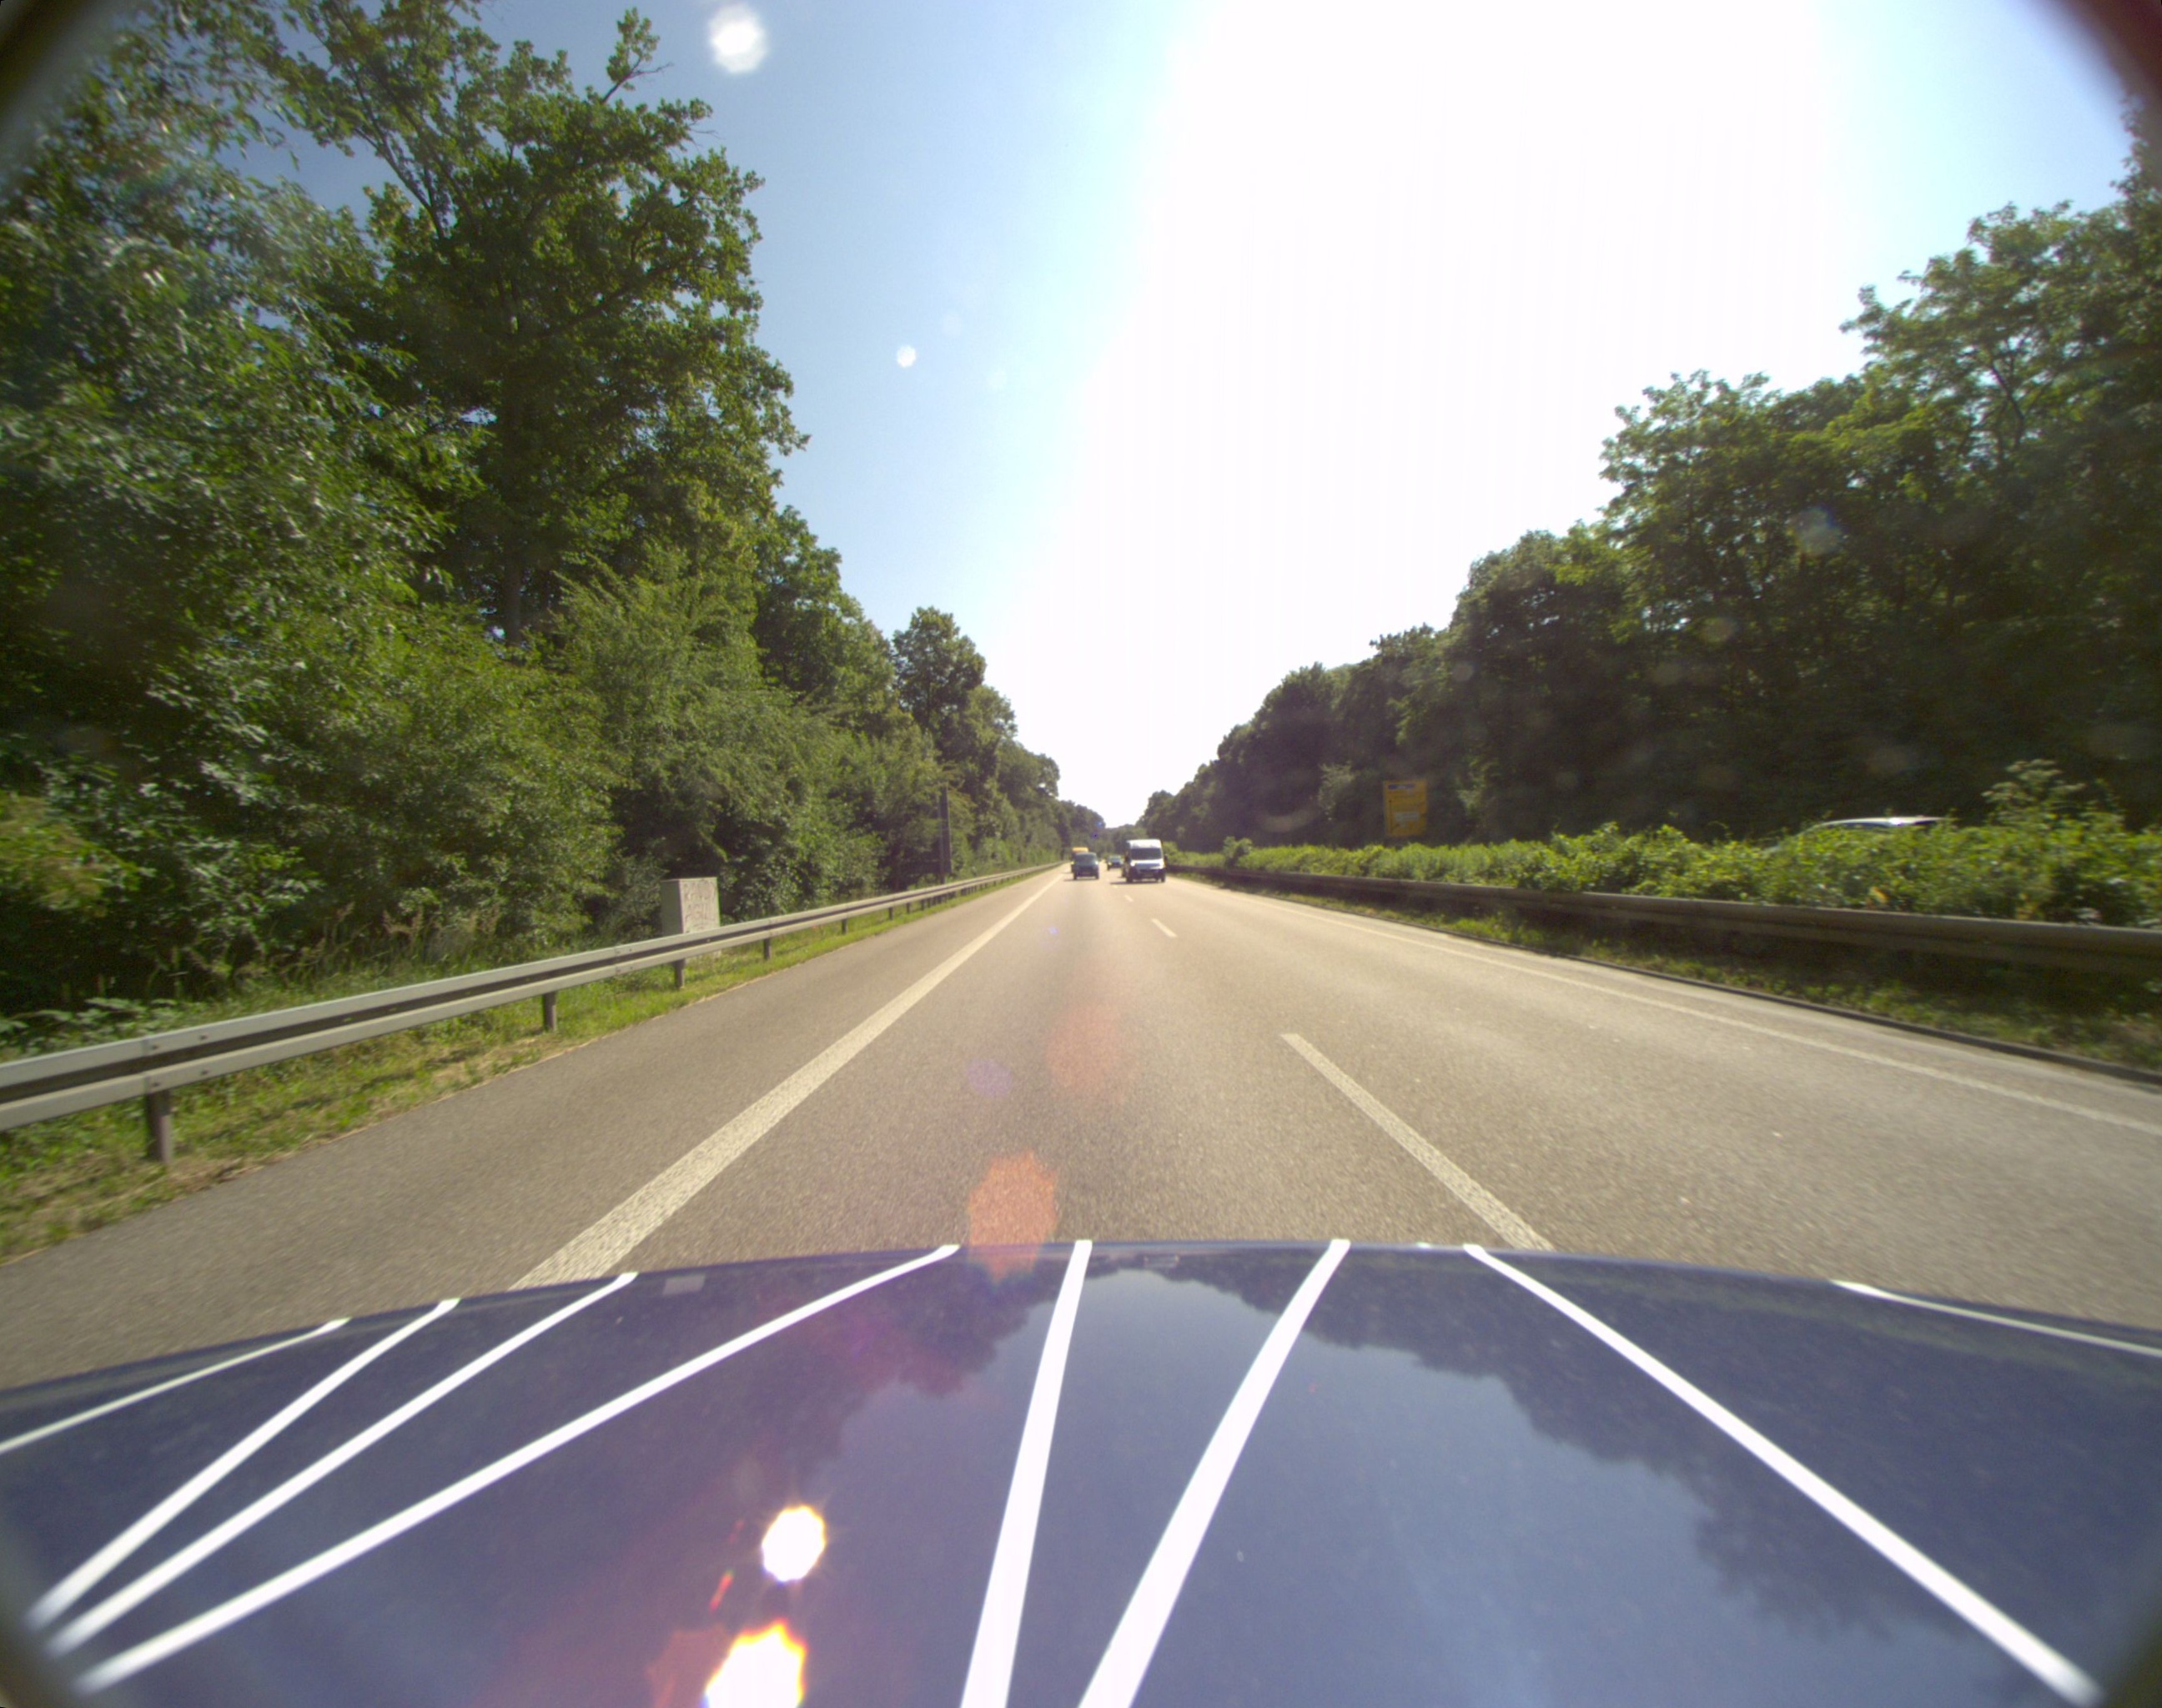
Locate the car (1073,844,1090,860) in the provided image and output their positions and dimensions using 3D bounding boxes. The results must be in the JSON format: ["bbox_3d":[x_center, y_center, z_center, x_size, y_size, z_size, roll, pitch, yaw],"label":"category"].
[{"bbox_3d":[0.118,-0.180,82.373,1.737,1.624,3.899,-2,0,1],"label":"car"}]

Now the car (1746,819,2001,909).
[{"bbox_3d":[15.651,0.169,15.270,1.552,1.557,3.384,-2,0,0],"label":"car"}]

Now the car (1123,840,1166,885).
[{"bbox_3d":[3.661,0.439,44.346,2.046,2.429,4.637,-2,0,0],"label":"car"}]

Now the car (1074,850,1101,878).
[{"bbox_3d":[0.482,0.676,54.652,1.812,1.921,4.581,-2,0,0],"label":"car"}]

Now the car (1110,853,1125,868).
[{"bbox_3d":[4.159,0.715,87.161,1.517,1.624,3.611,-2,0,1],"label":"car"}]
